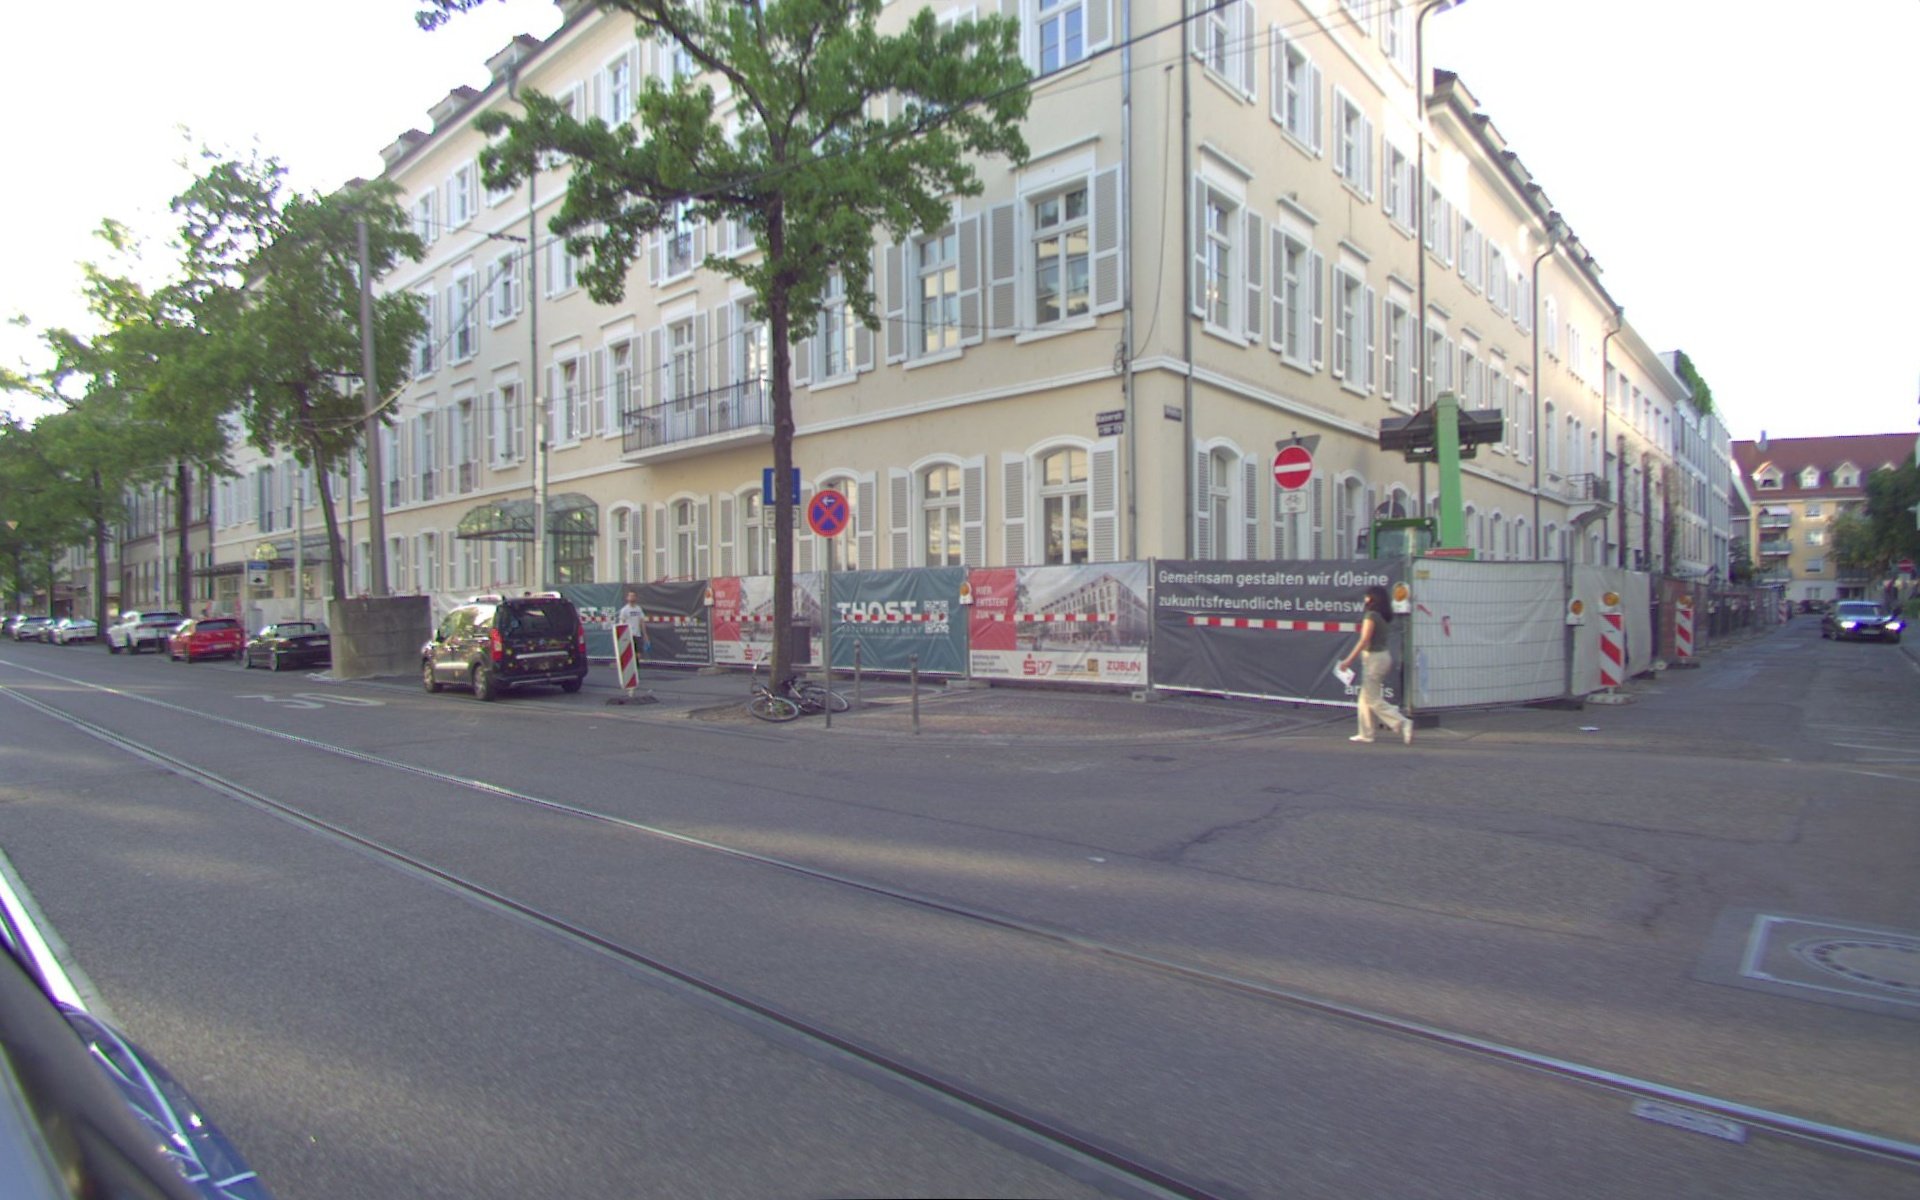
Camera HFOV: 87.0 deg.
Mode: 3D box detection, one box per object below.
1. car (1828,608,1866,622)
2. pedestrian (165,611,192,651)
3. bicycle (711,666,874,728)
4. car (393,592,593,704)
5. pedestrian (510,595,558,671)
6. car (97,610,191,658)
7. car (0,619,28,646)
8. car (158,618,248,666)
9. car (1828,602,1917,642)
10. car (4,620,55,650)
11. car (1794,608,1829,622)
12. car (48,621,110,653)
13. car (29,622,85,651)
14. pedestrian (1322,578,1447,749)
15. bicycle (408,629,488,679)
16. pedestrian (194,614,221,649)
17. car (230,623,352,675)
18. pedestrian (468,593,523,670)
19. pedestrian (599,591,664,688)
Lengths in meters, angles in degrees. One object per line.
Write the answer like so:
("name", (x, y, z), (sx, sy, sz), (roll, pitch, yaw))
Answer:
("car", (87.379, 1.446, 99.752), (1.992, 1.364, 3.960), (-1, -1, 30))
("pedestrian", (-35.459, 1.417, 45.900), (0.933, 1.755, 0.736), (-1, 1, 42))
("bicycle", (-2.264, 1.288, 13.780), (1.283, 0.613, 1.775), (-2, 0, 45))
("car", (-8.927, 0.840, 19.153), (4.559, 1.846, 1.837), (-1, 0, 43))
("pedestrian", (-10.630, 0.803, 25.256), (0.876, 1.826, 0.712), (-1, 2, 41))
("car", (-32.781, 1.349, 40.595), (4.945, 1.701, 1.848), (-2, 2, 39))
("car", (-71.648, 2.469, 76.061), (4.764, 1.972, 1.906), (-2, -2, 42))
("car", (-25.600, 1.375, 34.182), (4.140, 1.416, 1.642), (-1, 2, 43))
("car", (33.865, 0.793, 37.672), (1.996, 1.364, 3.951), (-1, -1, 36))
("car", (-60.702, 2.246, 65.991), (4.764, 1.754, 1.927), (-2, 2, 42))
("car", (84.992, 1.480, 101.080), (1.992, 1.364, 3.960), (-1, -1, 30))
("car", (-46.179, 1.899, 52.996), (4.616, 1.477, 1.872), (-2, 2, 42))
("car", (-52.033, 2.094, 58.292), (4.338, 1.477, 1.724), (-2, 1, 39))
("pedestrian", (4.396, 0.637, 10.489), (0.967, 1.669, 0.699), (-3, -2, 43))
("bicycle", (-12.682, 1.320, 25.041), (2.039, 1.130, 0.753), (-2, 2, 31))
("pedestrian", (-34.748, 1.444, 46.731), (0.933, 1.592, 0.736), (-1, 1, 42))
("car", (-18.815, 1.332, 28.393), (4.506, 1.254, 1.700), (-1, 2, 41))
("pedestrian", (-11.283, 0.750, 24.579), (0.884, 1.795, 0.856), (-1, 2, 41))
("pedestrian", (-6.467, 0.761, 19.905), (0.984, 1.805, 0.766), (-1, 1, 43))
